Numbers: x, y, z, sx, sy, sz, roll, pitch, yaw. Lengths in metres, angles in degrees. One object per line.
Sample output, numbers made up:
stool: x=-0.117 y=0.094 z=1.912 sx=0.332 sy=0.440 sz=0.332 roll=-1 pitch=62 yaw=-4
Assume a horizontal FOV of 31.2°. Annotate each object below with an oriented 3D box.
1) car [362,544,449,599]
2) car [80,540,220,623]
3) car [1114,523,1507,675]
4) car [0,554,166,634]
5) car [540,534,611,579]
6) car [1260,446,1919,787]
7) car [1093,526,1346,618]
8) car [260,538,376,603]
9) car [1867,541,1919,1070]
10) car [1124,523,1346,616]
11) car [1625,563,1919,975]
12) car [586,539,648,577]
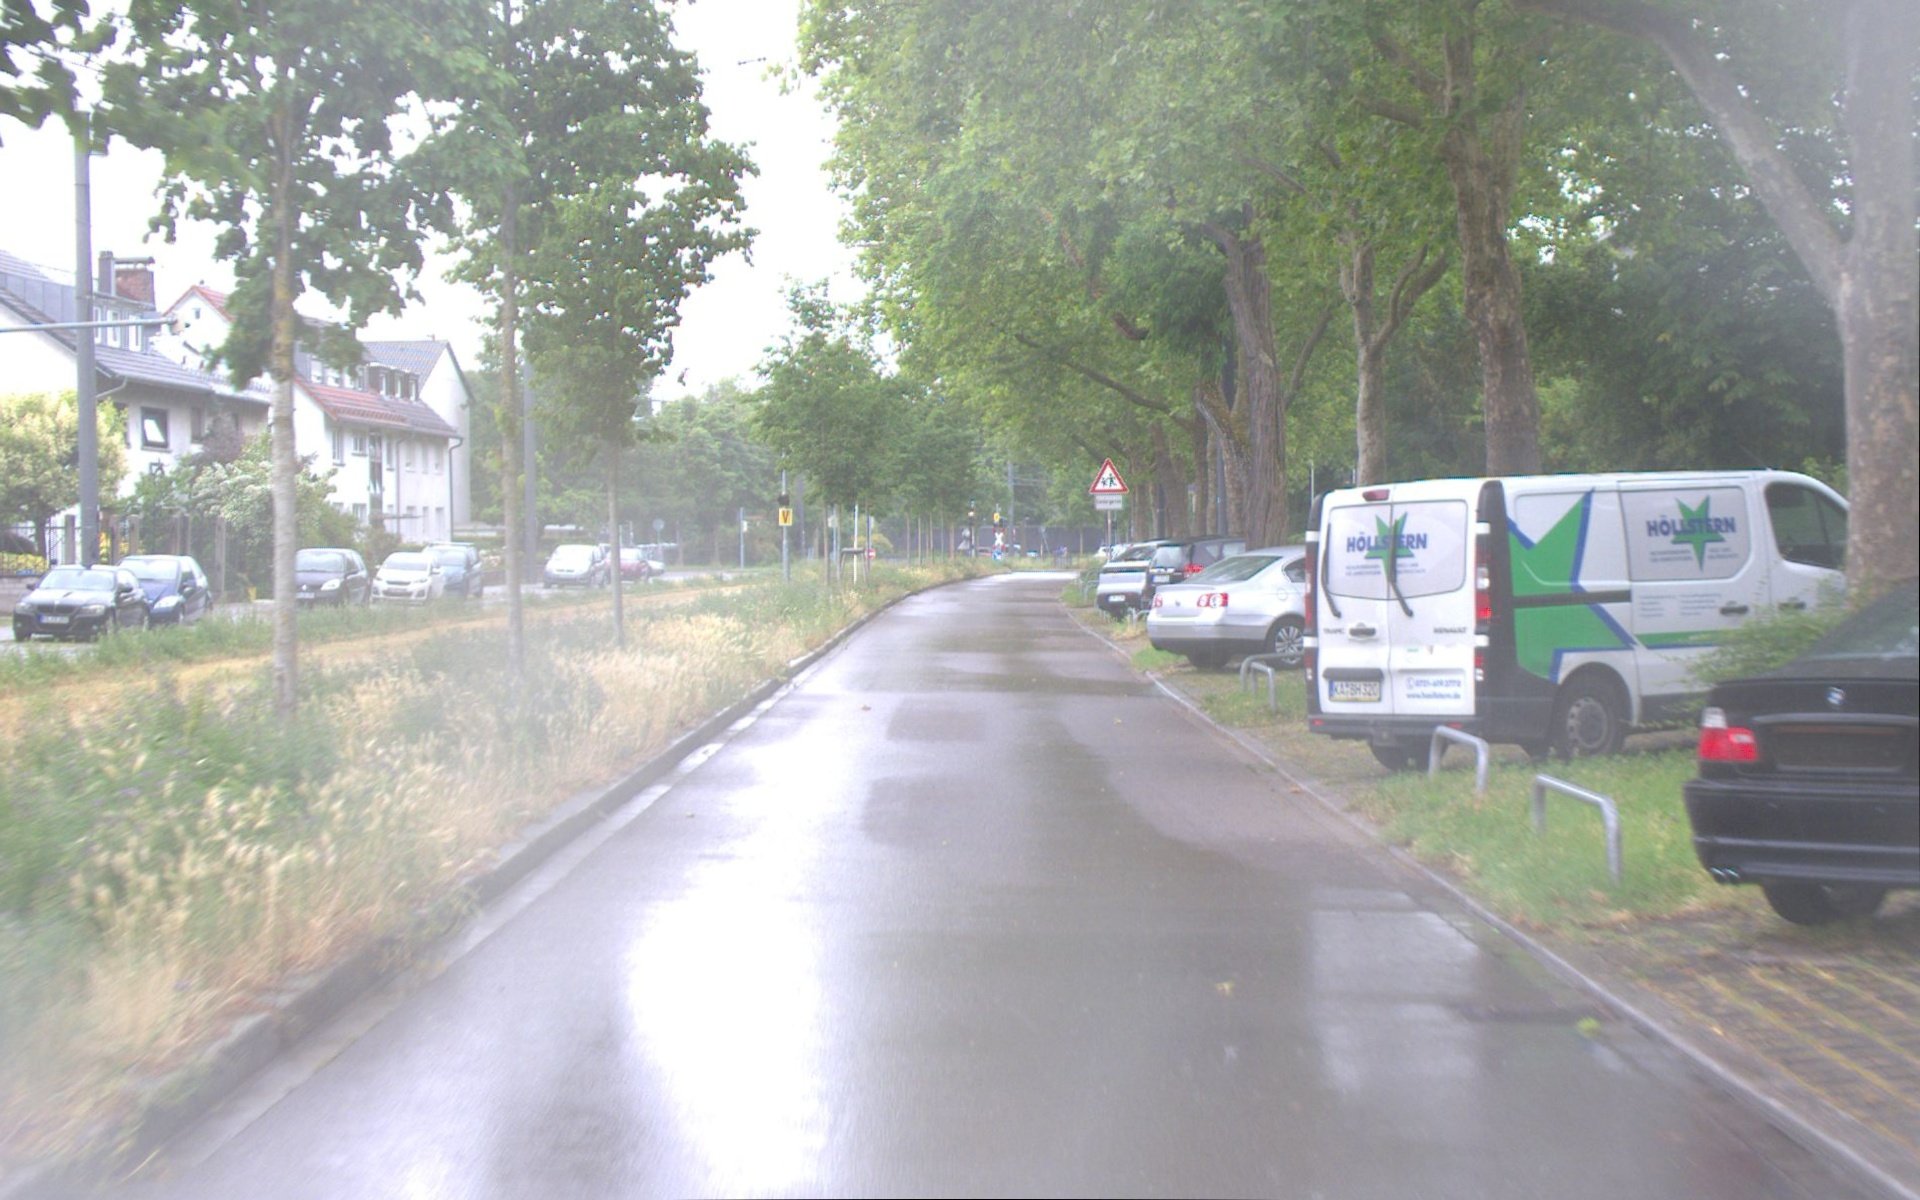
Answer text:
car: x=-15.788 y=-0.827 z=98.012 sx=1.796 sy=1.483 sz=3.597 roll=1 pitch=2 yaw=2
car: x=-16.246 y=-0.396 z=69.098 sx=1.873 sy=1.545 sz=3.870 roll=1 pitch=2 yaw=0
car: x=4.345 y=-0.049 z=42.363 sx=4.546 sy=1.539 sz=1.888 roll=-4 pitch=3 yaw=-31
car: x=-16.357 y=-0.139 z=64.120 sx=1.993 sy=1.346 sz=4.240 roll=1 pitch=2 yaw=2
car: x=-14.368 y=-1.657 z=128.571 sx=1.993 sy=1.575 sz=4.517 roll=1 pitch=2 yaw=2
car: x=4.648 y=0.017 z=23.404 sx=5.014 sy=2.006 sz=2.000 roll=-3 pitch=3 yaw=-34
car: x=5.112 y=-0.568 z=67.384 sx=4.761 sy=1.662 sz=1.994 roll=-2 pitch=2 yaw=-36
car: x=-16.091 y=-0.772 z=86.316 sx=1.993 sy=1.511 sz=4.205 roll=1 pitch=2 yaw=2
car: x=4.558 y=0.506 z=10.230 sx=3.394 sy=1.513 sz=1.850 roll=-3 pitch=1 yaw=-37
car: x=4.957 y=-0.558 z=61.860 sx=3.702 sy=1.561 sz=1.619 roll=-2 pitch=2 yaw=-32
car: x=4.670 y=0.548 z=13.406 sx=4.293 sy=1.379 sz=1.740 roll=-1 pitch=2 yaw=-39
car: x=-14.200 y=-1.752 z=142.372 sx=1.993 sy=1.483 sz=4.205 roll=1 pitch=2 yaw=2
